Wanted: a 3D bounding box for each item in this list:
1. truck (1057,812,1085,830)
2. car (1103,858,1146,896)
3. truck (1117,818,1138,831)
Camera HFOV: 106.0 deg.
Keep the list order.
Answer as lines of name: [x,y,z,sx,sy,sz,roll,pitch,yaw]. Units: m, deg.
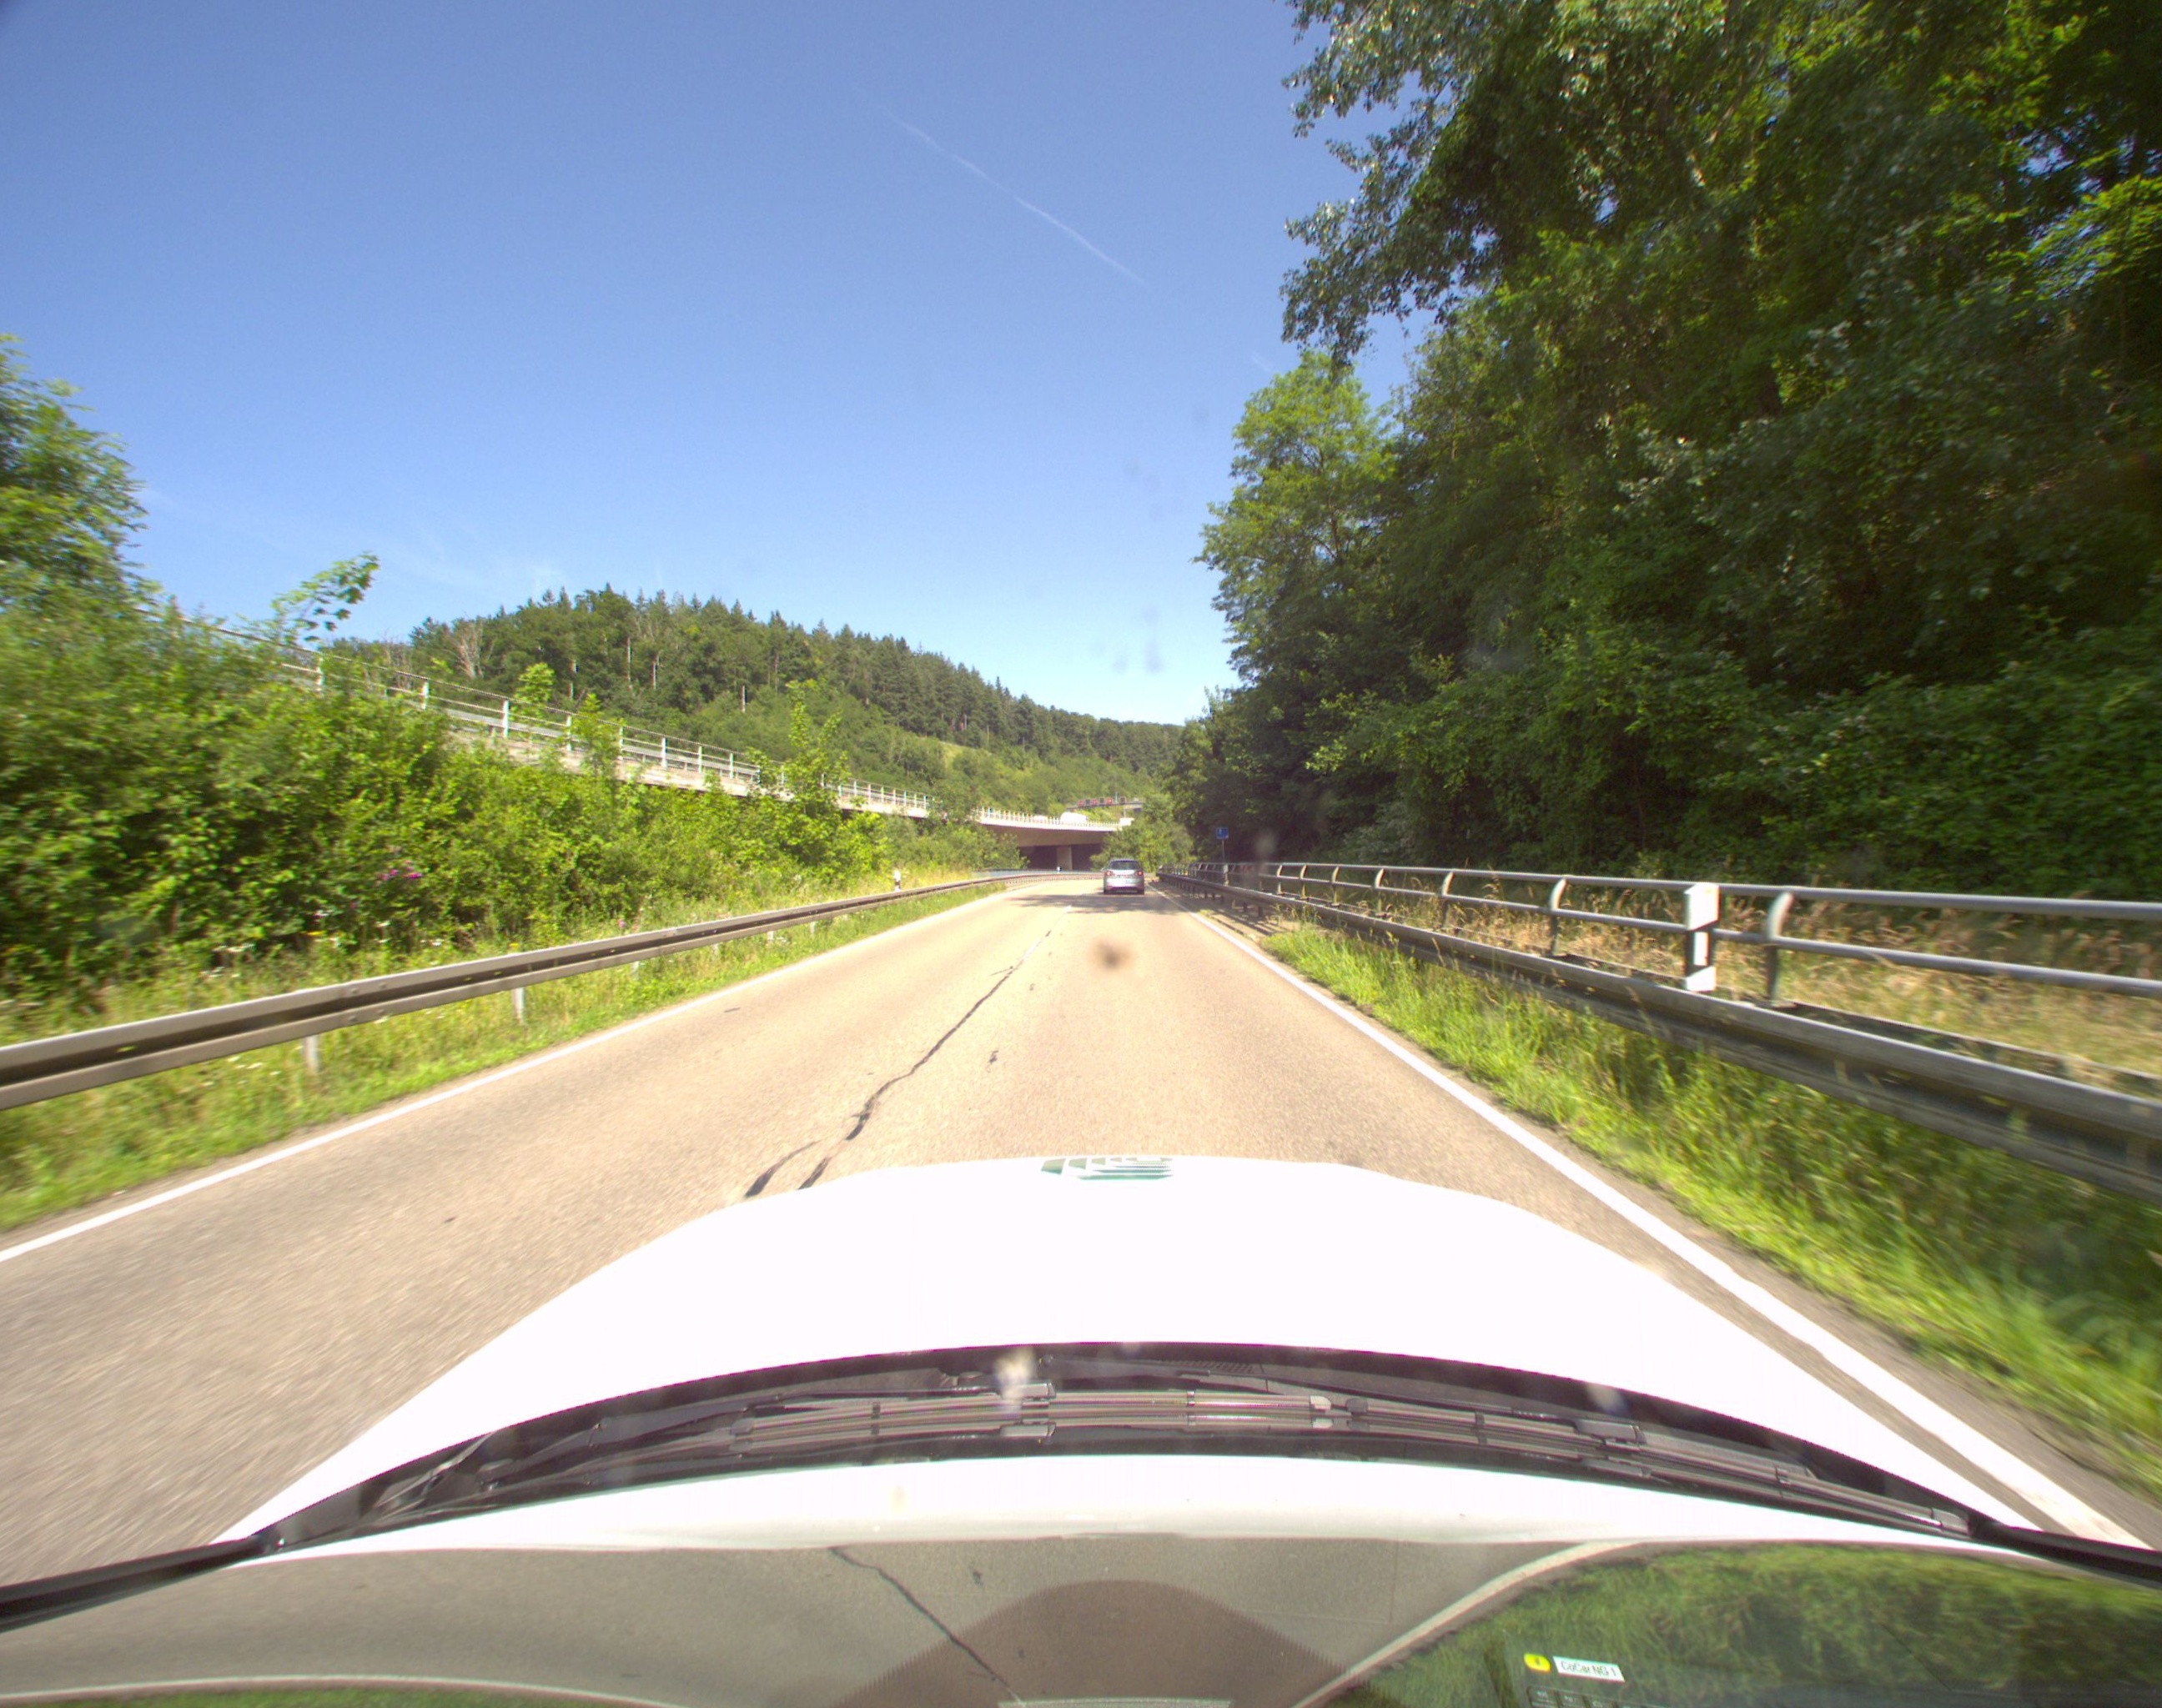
truck: [-2.032,-6.831,169.500,3.346,3.354,10.214,-1,0,14]
car: [1.881,0.967,35.901,1.744,1.520,4.161,-1,0,2]
truck: [12.900,-8.149,224.469,3.731,3.385,10.551,-1,1,15]
